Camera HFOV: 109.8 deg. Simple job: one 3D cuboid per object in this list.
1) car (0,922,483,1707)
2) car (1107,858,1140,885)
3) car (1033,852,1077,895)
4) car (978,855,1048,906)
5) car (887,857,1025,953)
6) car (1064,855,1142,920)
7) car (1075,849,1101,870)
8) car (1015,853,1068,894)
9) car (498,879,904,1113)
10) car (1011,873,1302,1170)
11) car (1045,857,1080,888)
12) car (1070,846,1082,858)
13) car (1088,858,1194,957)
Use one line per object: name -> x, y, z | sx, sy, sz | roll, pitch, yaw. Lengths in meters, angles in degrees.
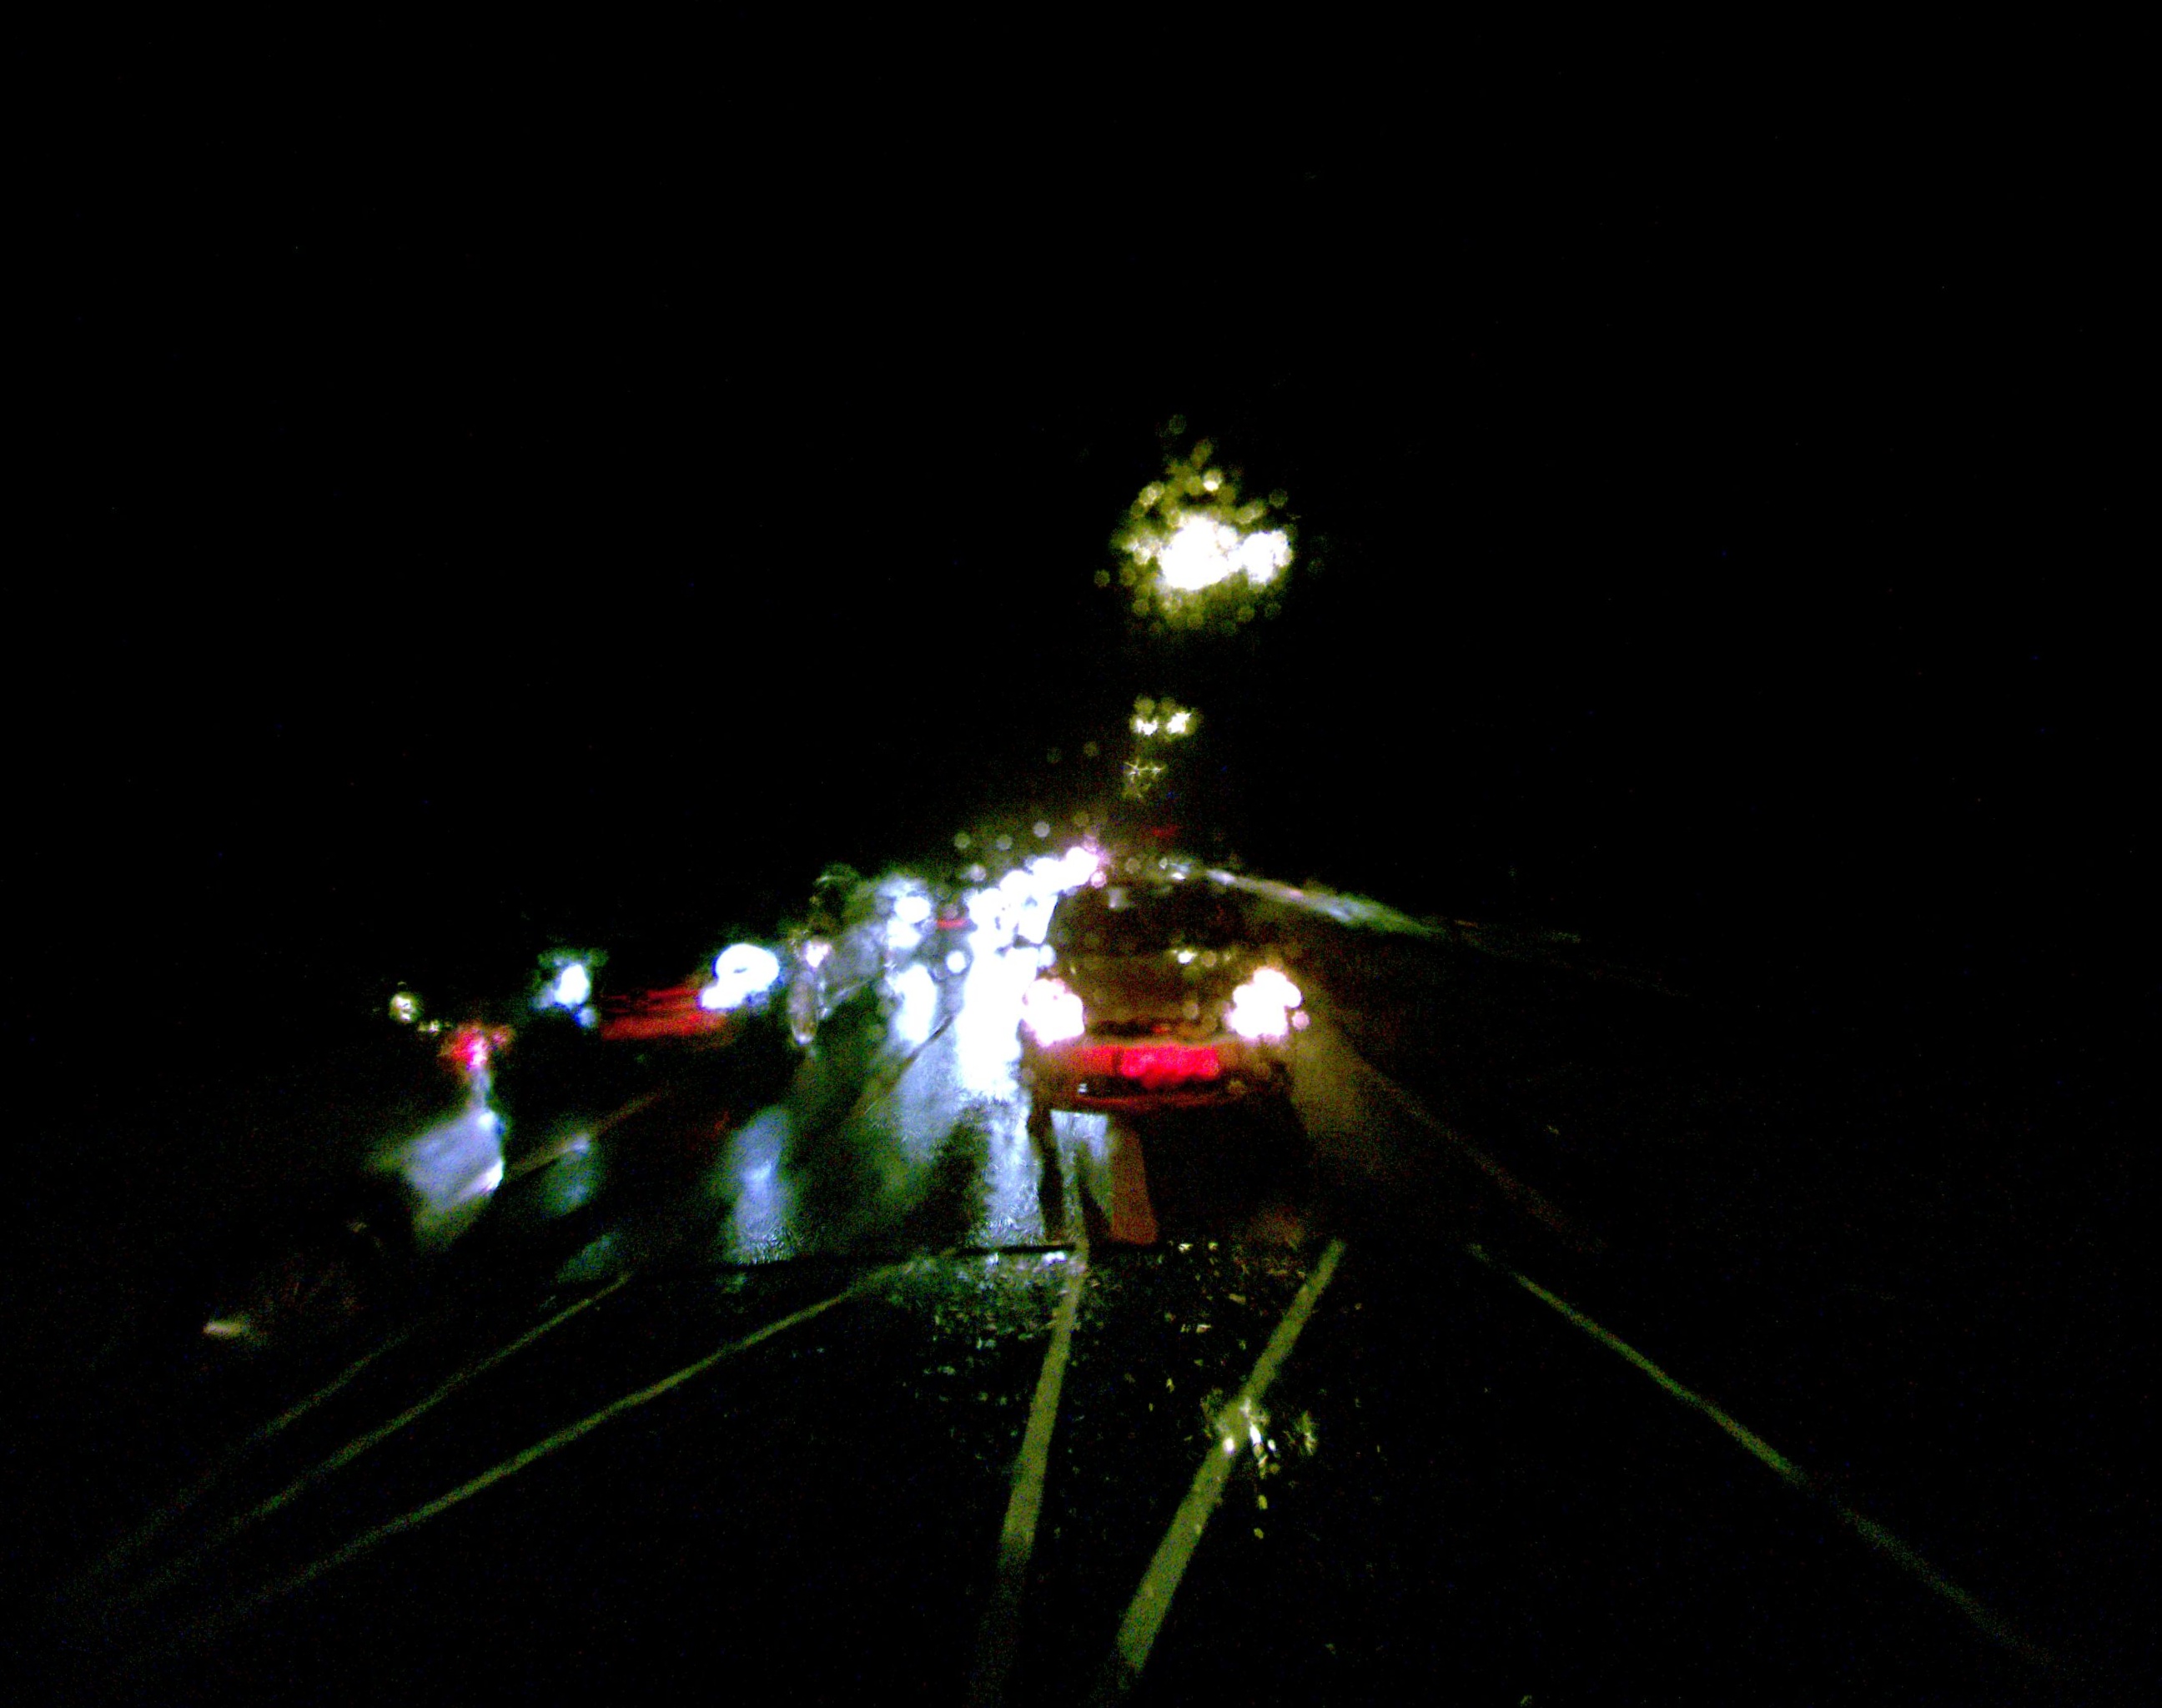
car -> -3.080, 1.056, 0.513 | 1.711, 1.513, 4.414 | -2, 1, 1
car -> 2.743, 1.103, 49.434 | 1.998, 1.574, 4.000 | -2, 1, 2
car -> -1.292, 0.972, 39.625 | 1.998, 2.002, 3.999 | -2, 1, 1
car -> -2.304, 0.874, 26.977 | 1.998, 1.589, 4.391 | -1, 1, 1
car -> -2.344, 0.906, 15.475 | 1.998, 1.589, 4.391 | -1, 1, 1
car -> 0.578, 0.835, 20.625 | 1.838, 1.417, 3.698 | -4, 1, 1
car -> 0.570, 0.404, 60.456 | 1.998, 1.589, 4.391 | -1, 1, 1
car -> -1.622, 0.794, 32.958 | 1.998, 1.589, 4.391 | -1, 1, 1
car -> -3.153, 1.069, 7.409 | 1.743, 1.409, 4.139 | -2, 1, 1
car -> 0.428, 0.944, 5.771 | 1.497, 1.416, 3.389 | -3, 1, 1
car -> -1.135, 1.099, 47.807 | 1.998, 1.789, 4.000 | -1, 0, 1
car -> -0.897, -0.409, 129.430 | 1.998, 2.002, 3.999 | -1, 1, 0
car -> 0.978, 0.867, 13.824 | 1.606, 1.417, 3.389 | -4, 1, 1
